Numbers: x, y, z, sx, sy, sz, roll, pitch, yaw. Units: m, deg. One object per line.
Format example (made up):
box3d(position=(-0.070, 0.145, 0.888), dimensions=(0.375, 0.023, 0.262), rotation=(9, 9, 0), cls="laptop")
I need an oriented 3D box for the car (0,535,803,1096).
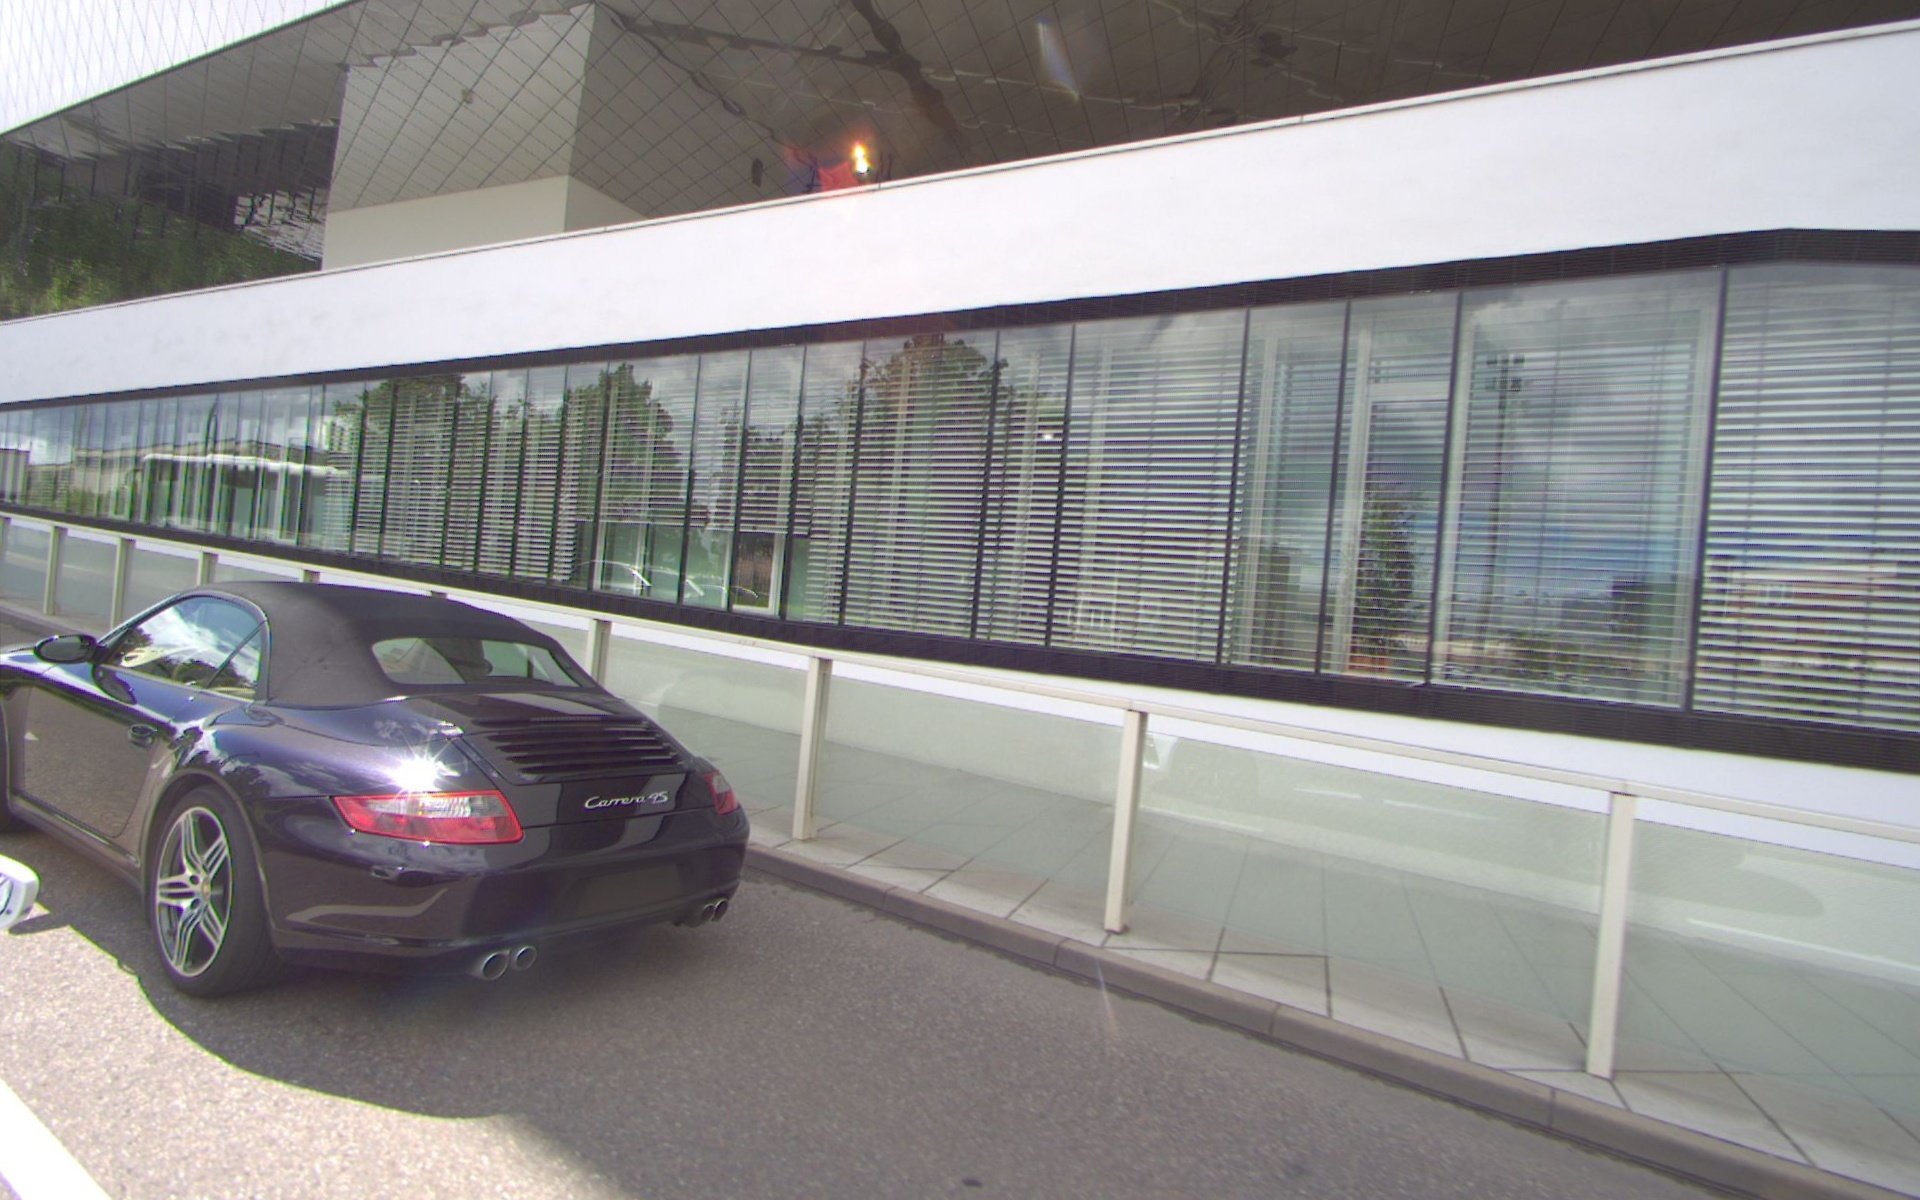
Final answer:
box3d(position=(-2.855, 0.555, 4.446), dimensions=(4.020, 1.290, 1.723), rotation=(6, -1, 32), cls="car")
